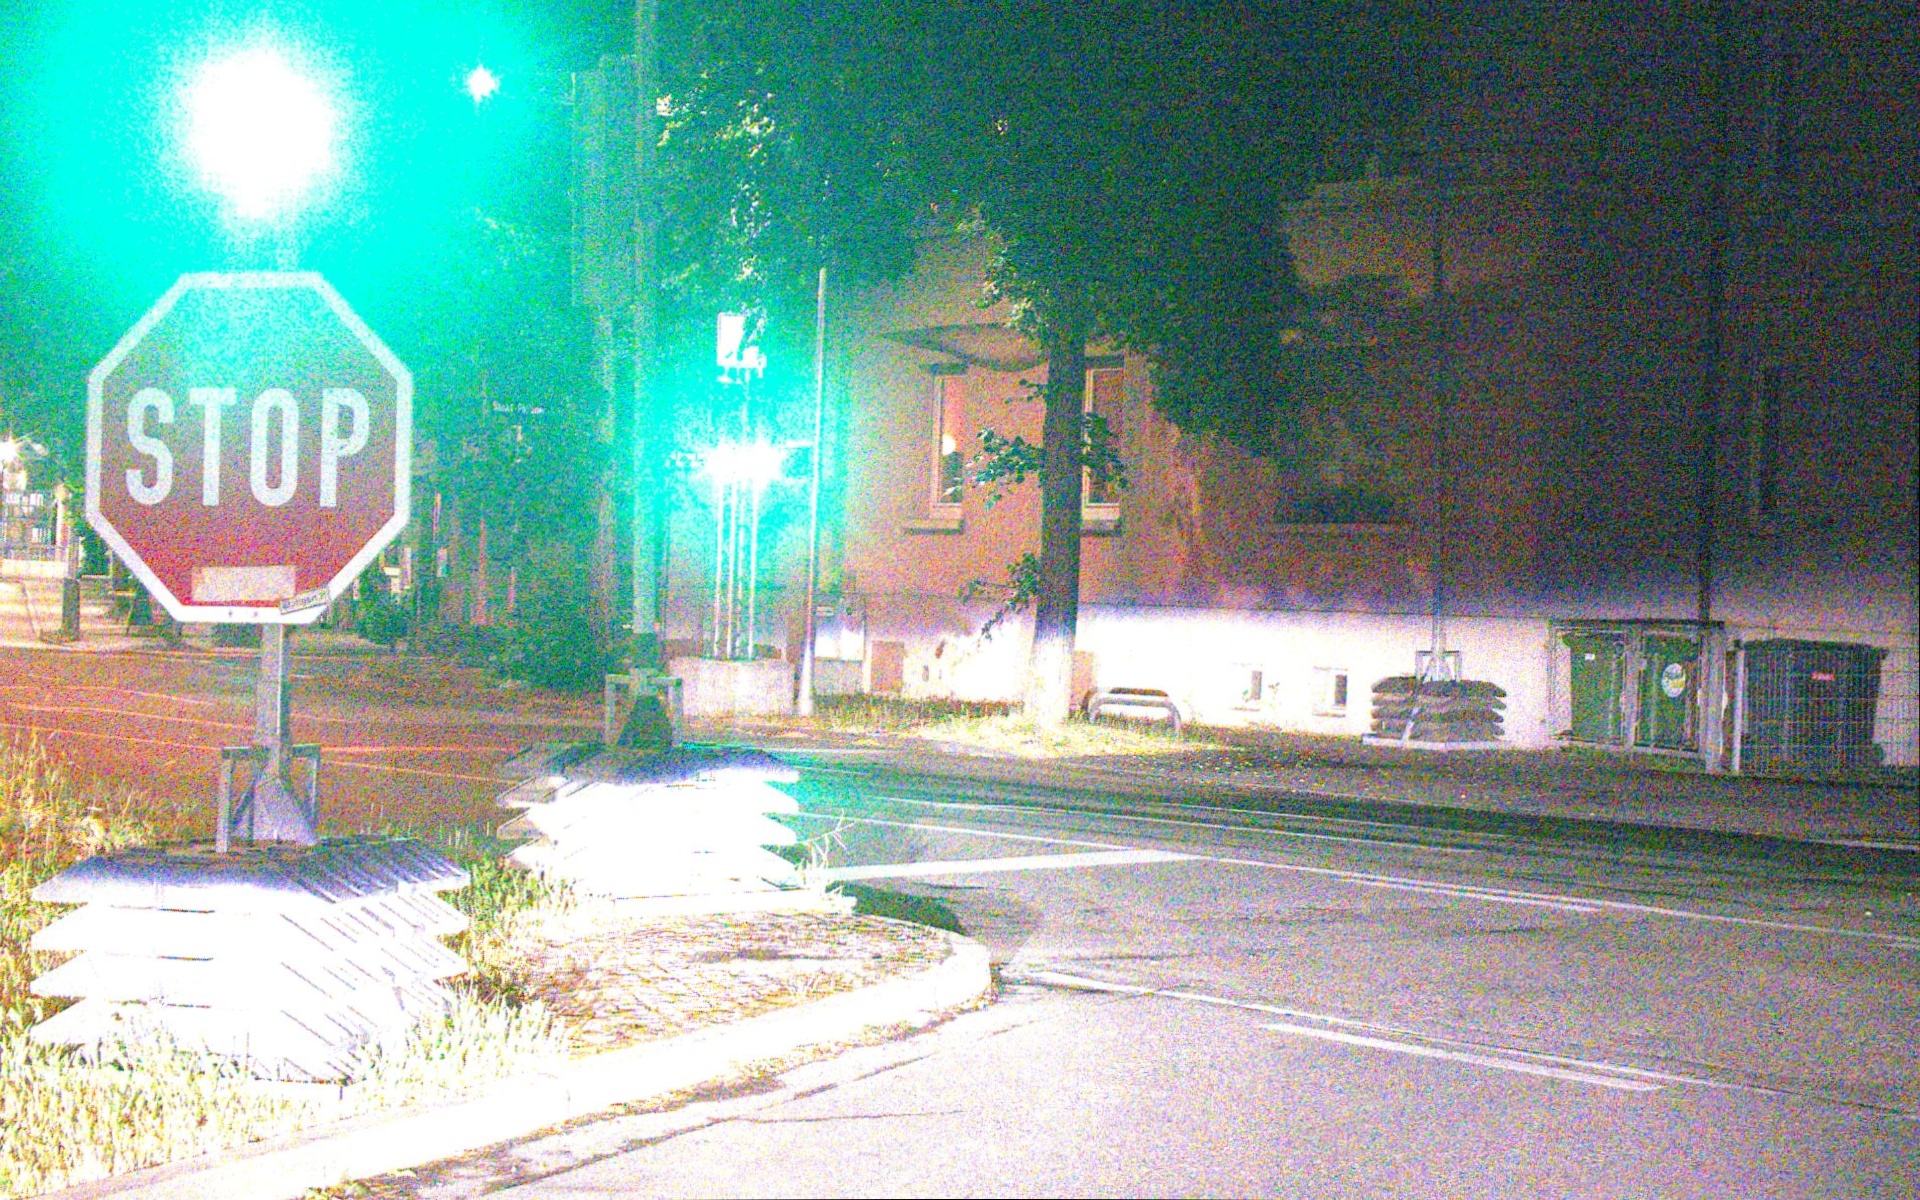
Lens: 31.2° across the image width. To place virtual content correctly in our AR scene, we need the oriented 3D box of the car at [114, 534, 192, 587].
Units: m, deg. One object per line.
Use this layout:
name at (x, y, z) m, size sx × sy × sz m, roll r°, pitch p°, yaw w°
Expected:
car at (-24.541, -1.215, 104.423) m, size 1.733 × 1.454 × 4.729 m, roll 3°, pitch 0°, yaw -19°

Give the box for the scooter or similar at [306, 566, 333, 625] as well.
scooter or similar at (-12.818, -0.096, 68.854) m, size 0.421 × 1.126 × 1.494 m, roll 2°, pitch 1°, yaw -8°
